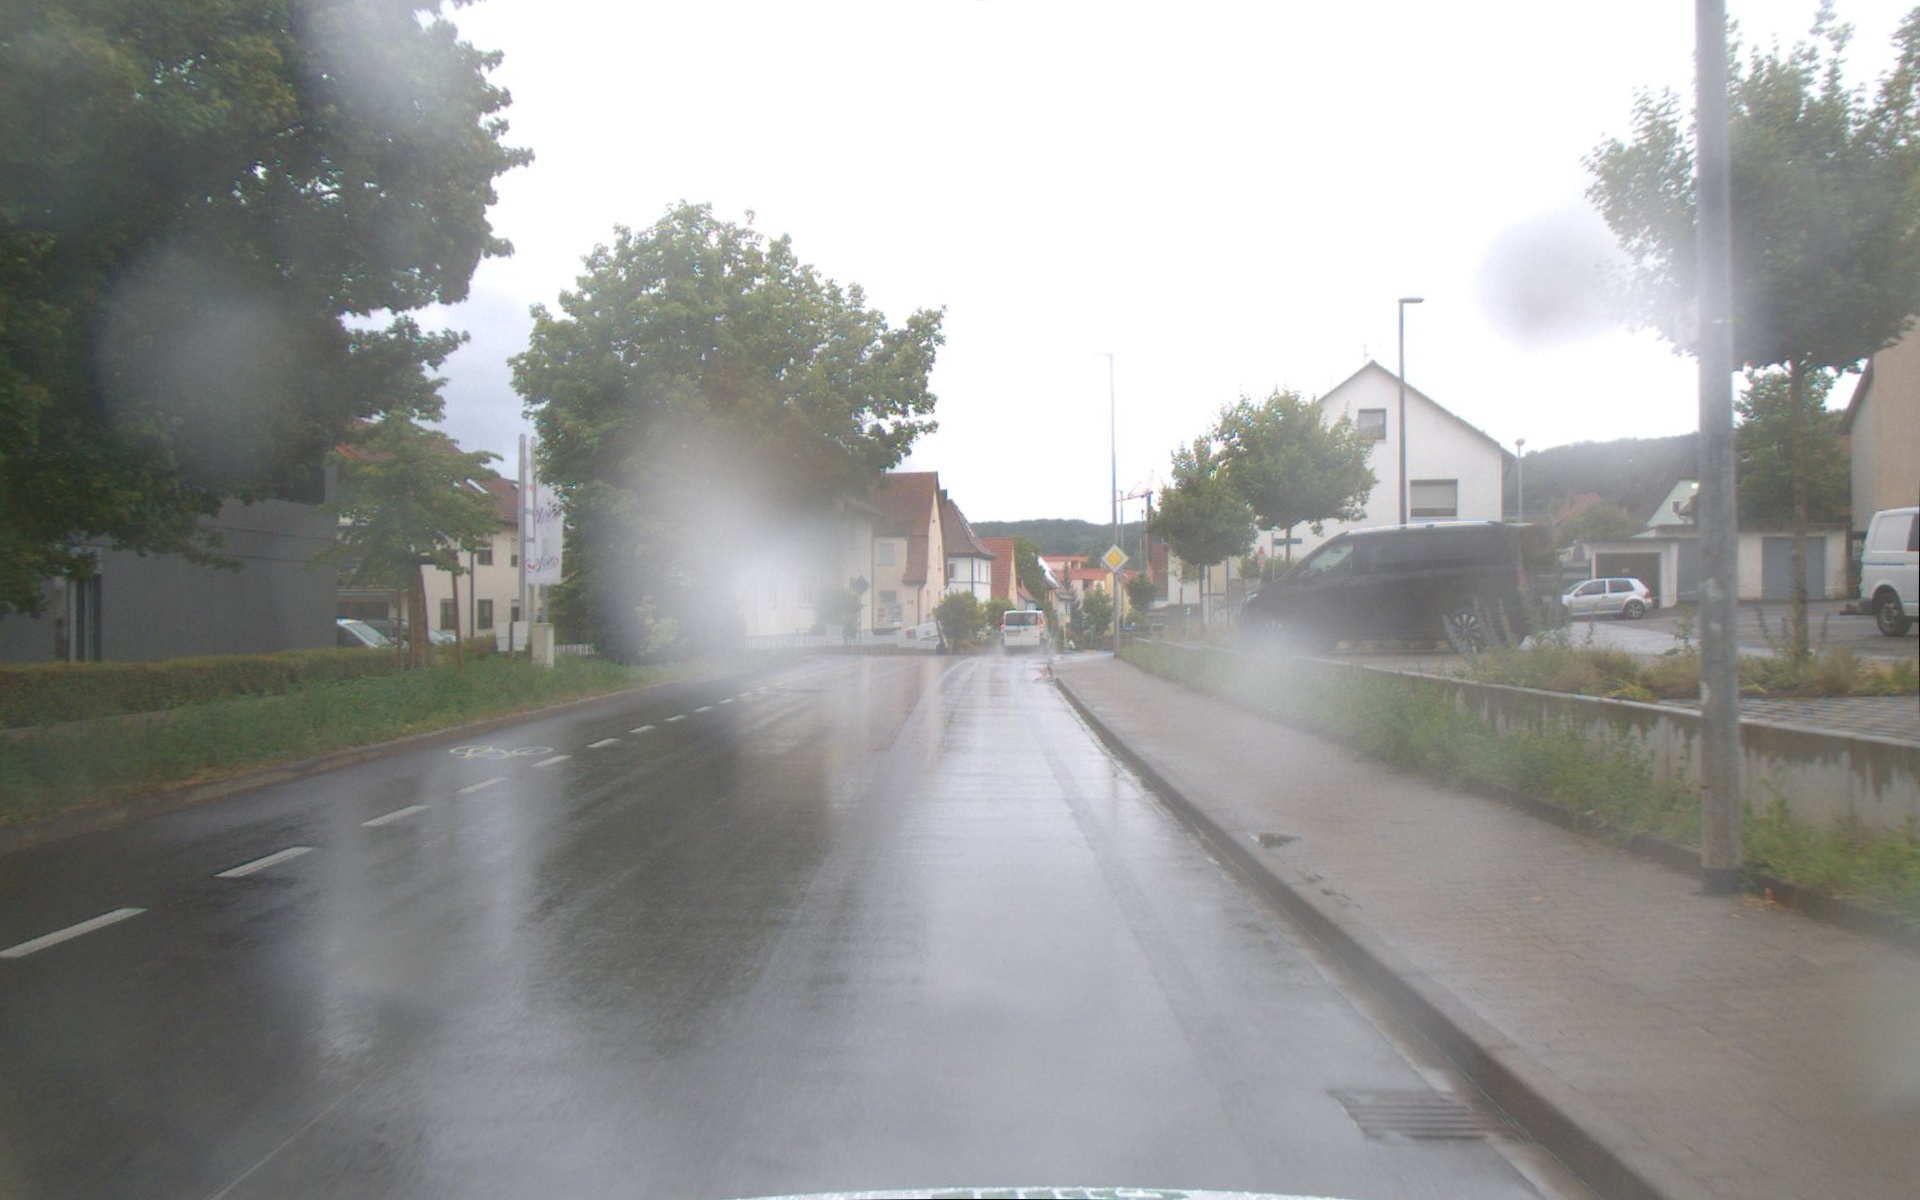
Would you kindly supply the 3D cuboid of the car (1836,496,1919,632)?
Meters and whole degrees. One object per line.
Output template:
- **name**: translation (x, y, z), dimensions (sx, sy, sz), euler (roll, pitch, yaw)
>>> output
- **car**: translation (15.394, -0.559, 24.924), dimensions (1.758, 2.048, 4.598), euler (-1, 1, -3)

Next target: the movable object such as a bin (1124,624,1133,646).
- **movable object such as a bin**: translation (7.473, 1.556, 73.326), dimensions (0.416, 0.957, 0.508), euler (1, 1, 6)

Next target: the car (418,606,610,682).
- **car**: translation (-7.598, 0.750, 28.332), dimensions (2.848, 1.179, 1.471), euler (-2, -1, 0)

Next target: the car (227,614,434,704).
- **car**: translation (-15.529, 1.434, 40.976), dimensions (4.308, 2.048, 2.153), euler (1, 1, -2)

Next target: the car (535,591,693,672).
- **car**: translation (-6.890, 0.645, 33.076), dimensions (2.848, 1.481, 1.253), euler (-2, -3, 0)

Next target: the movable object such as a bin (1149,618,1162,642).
- **movable object such as a bin**: translation (8.664, 1.335, 73.265), dimensions (0.517, 1.046, 0.632), euler (1, 1, 6)

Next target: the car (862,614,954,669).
- **car**: translation (-2.857, 2.294, 91.463), dimensions (4.466, 2.044, 2.161), euler (-13, -1, 7)

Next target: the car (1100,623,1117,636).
- **car**: translation (20.985, 4.115, 233.128), dimensions (1.802, 1.606, 4.293), euler (1, 1, 12)

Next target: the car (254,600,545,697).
- **car**: translation (-8.405, 0.723, 24.994), dimensions (3.820, 1.306, 1.582), euler (-2, -1, 0)

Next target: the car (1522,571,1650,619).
- **car**: translation (21.154, -0.167, 55.972), dimensions (3.688, 1.480, 1.609), euler (-2, -1, 4)

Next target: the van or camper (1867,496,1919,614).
- **van or camper**: translation (22.189, -0.943, 34.588), dimensions (1.957, 2.581, 6.588), euler (1, 1, -10)

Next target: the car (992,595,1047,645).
- **car**: translation (2.519, 0.788, 68.895), dimensions (2.072, 1.921, 4.505), euler (1, 1, 5)

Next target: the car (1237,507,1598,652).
- **car**: translation (7.085, -0.251, 25.892), dimensions (5.015, 1.953, 2.045), euler (-3, -2, 37)
